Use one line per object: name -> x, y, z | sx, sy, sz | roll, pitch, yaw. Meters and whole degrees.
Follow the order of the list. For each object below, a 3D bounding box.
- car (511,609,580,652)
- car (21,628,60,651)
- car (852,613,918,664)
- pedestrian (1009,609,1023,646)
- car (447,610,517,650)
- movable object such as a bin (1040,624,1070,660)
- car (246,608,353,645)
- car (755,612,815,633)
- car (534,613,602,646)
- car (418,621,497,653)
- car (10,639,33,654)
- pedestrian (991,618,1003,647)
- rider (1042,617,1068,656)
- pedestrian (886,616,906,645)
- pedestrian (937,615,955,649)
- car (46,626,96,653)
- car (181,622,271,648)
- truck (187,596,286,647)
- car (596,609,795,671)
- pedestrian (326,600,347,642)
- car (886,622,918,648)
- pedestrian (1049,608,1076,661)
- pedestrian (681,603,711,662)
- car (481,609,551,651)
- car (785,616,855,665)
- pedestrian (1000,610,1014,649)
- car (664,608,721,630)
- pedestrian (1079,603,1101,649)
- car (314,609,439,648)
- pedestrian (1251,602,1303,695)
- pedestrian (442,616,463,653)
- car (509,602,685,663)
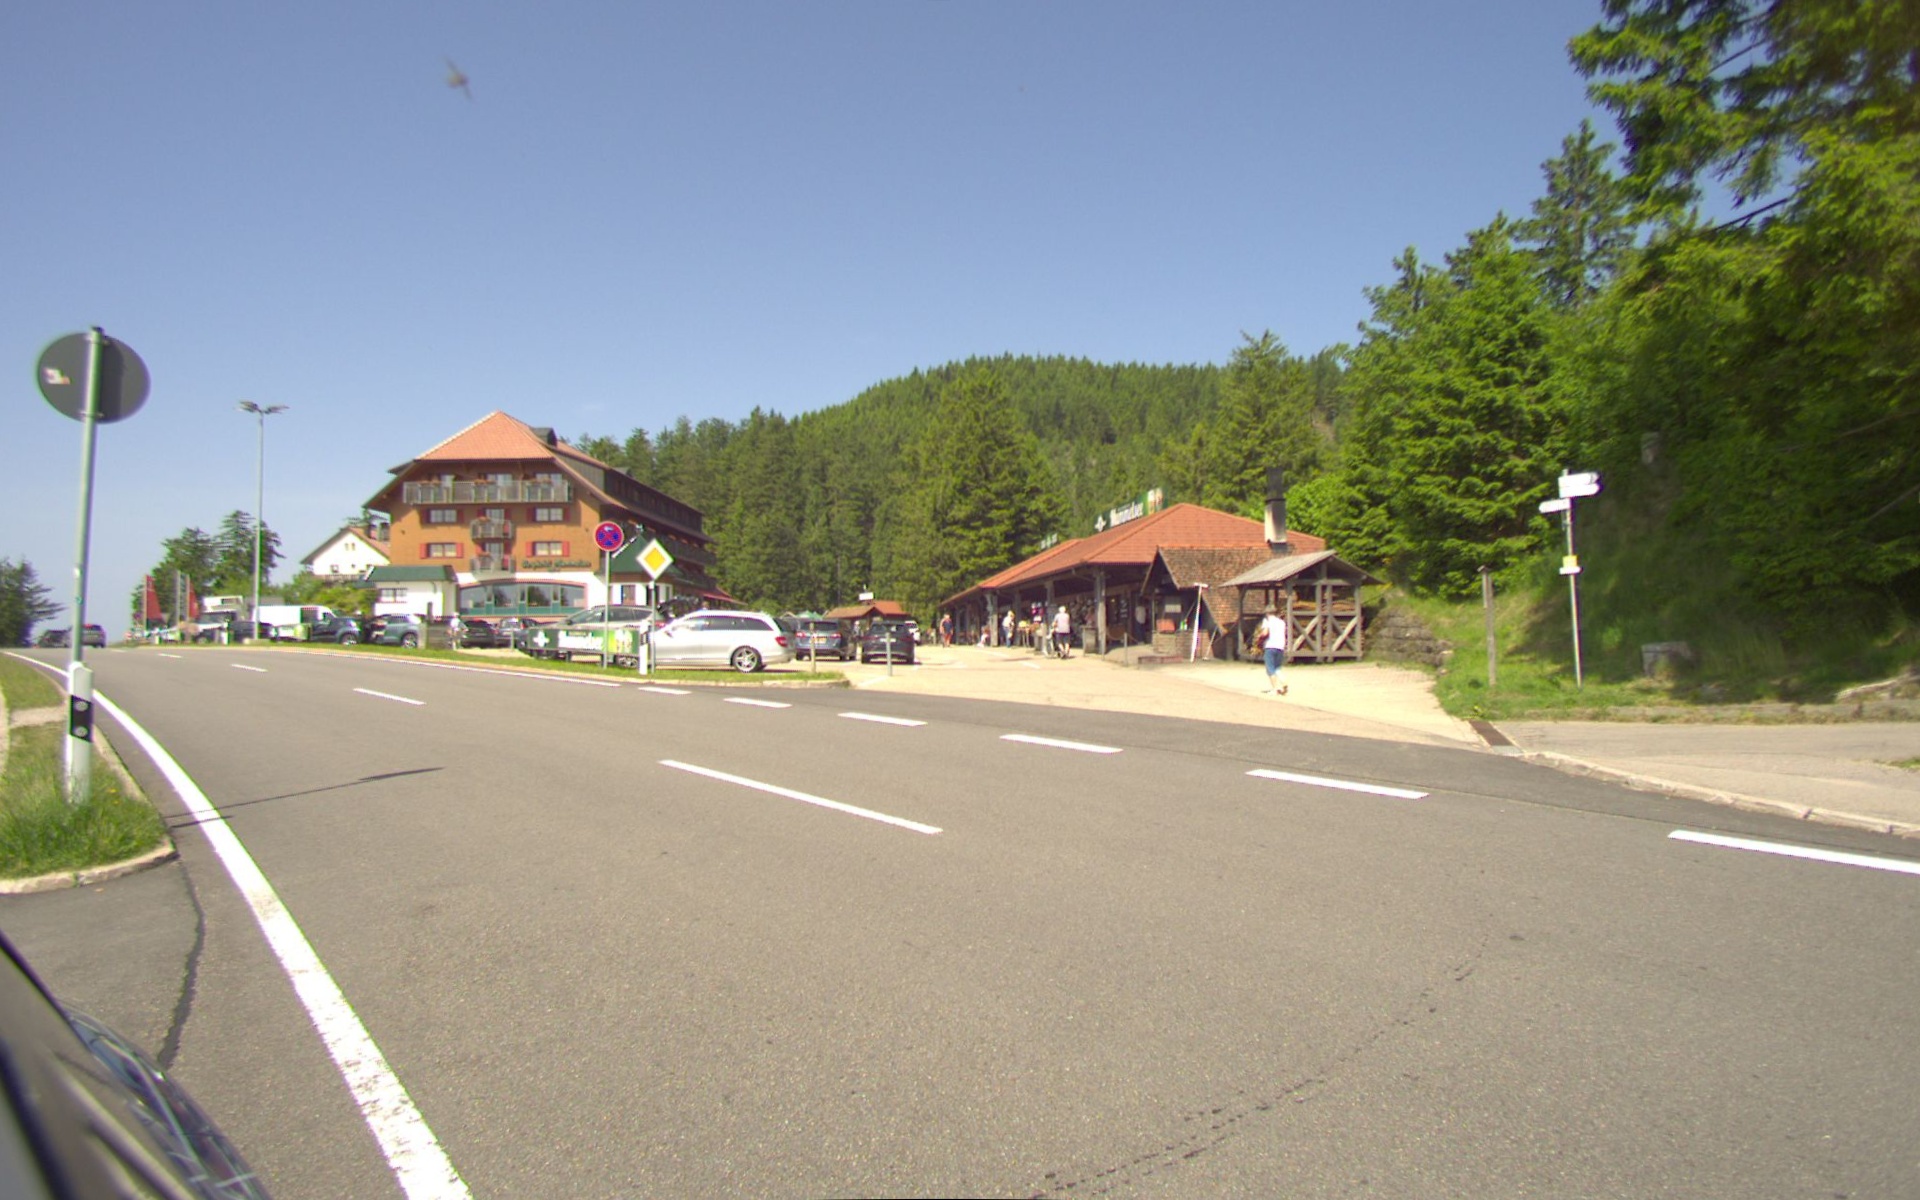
car -> -20.942, 1.508, 51.268 | 1.971, 2.029, 4.001 | -1, 0, -2
car -> -72.421, 3.091, 79.680 | 4.568, 1.660, 1.971 | -1, -1, 44
car -> -2.450, 1.234, 33.968 | 1.971, 1.541, 4.001 | 1, 0, -1
pedestrian -> 2.503, 1.222, 45.305 | 0.499, 1.668, 0.472 | -1, 0, -12
car -> -25.443, 1.558, 53.992 | 1.971, 2.029, 4.001 | -1, 0, -2
movable object such as a bin -> 3.216, 1.406, 34.165 | 0.972, 1.198, 1.214 | -1, -1, 6
car -> -52.150, 2.062, 80.108 | 6.845, 2.812, 2.675 | 0, -1, -28
car -> -14.709, 1.913, 85.222 | 4.775, 1.729, 1.921 | 0, -1, -2
car -> -18.945, 1.410, 49.076 | 1.798, 1.524, 4.096 | 0, -1, -1
car -> -24.054, 1.727, 48.385 | 3.991, 1.441, 1.702 | -1, -1, 35
car -> -97.742, 4.809, 105.384 | 1.686, 1.449, 4.453 | 0, -1, -44
pedestrian -> 1.867, 1.620, 50.999 | 0.537, 1.442, 0.473 | -1, 0, -5
rider -> 3.218, 1.212, 34.214 | 0.829, 1.284, 0.907 | -1, -1, 6
pedestrian -> -3.786, 1.804, 60.020 | 0.917, 1.668, 0.882 | -1, 0, -27
pedestrian -> -0.724, 1.629, 51.865 | 0.772, 1.668, 0.881 | -1, 0, -8
car -> -54.119, 2.352, 61.598 | 4.715, 1.485, 1.858 | -1, 1, 43
car -> -44.012, 2.097, 60.759 | 4.030, 1.539, 1.827 | 0, -1, -7
truck -> -59.179, 1.722, 83.055 | 2.838, 3.850, 9.035 | -2, 0, -9
car -> -6.269, 0.937, 24.383 | 4.434, 1.441, 1.724 | 0, -1, -4
pedestrian -> -30.970, 1.039, 50.258 | 0.802, 2.029, 0.707 | -1, -1, 42
car -> -3.887, 2.346, 68.406 | 1.971, 1.541, 4.001 | 1, 0, -1
pedestrian -> 3.356, 1.106, 33.086 | 0.829, 1.711, 0.802 | -1, -1, 7
pedestrian -> -7.620, 0.931, 29.255 | 0.735, 1.648, 0.848 | 0, -1, -7
car -> -23.122, 1.523, 52.868 | 1.971, 2.029, 4.001 | -1, 0, -2
car -> -4.847, 1.382, 35.592 | 1.971, 1.541, 4.001 | 1, 0, -1
pedestrian -> 2.079, 1.299, 44.628 | 0.499, 1.668, 0.472 | -1, 0, -12
car -> -21.160, 1.521, 80.142 | 4.035, 1.729, 1.921 | 0, -1, -2
pedestrian -> 5.005, 0.980, 38.834 | 0.555, 1.750, 0.663 | -1, -1, 41
car -> -24.536, 1.191, 42.664 | 4.207, 1.641, 1.826 | 0, -1, -4
pedestrian -> 5.928, 0.895, 18.938 | 0.711, 1.694, 0.683 | 0, -1, -2
pedestrian -> -22.709, 1.551, 45.288 | 0.733, 1.637, 0.685 | 0, -1, -17
car -> -10.344, 0.918, 29.073 | 4.483, 1.668, 1.724 | 0, -1, -5
